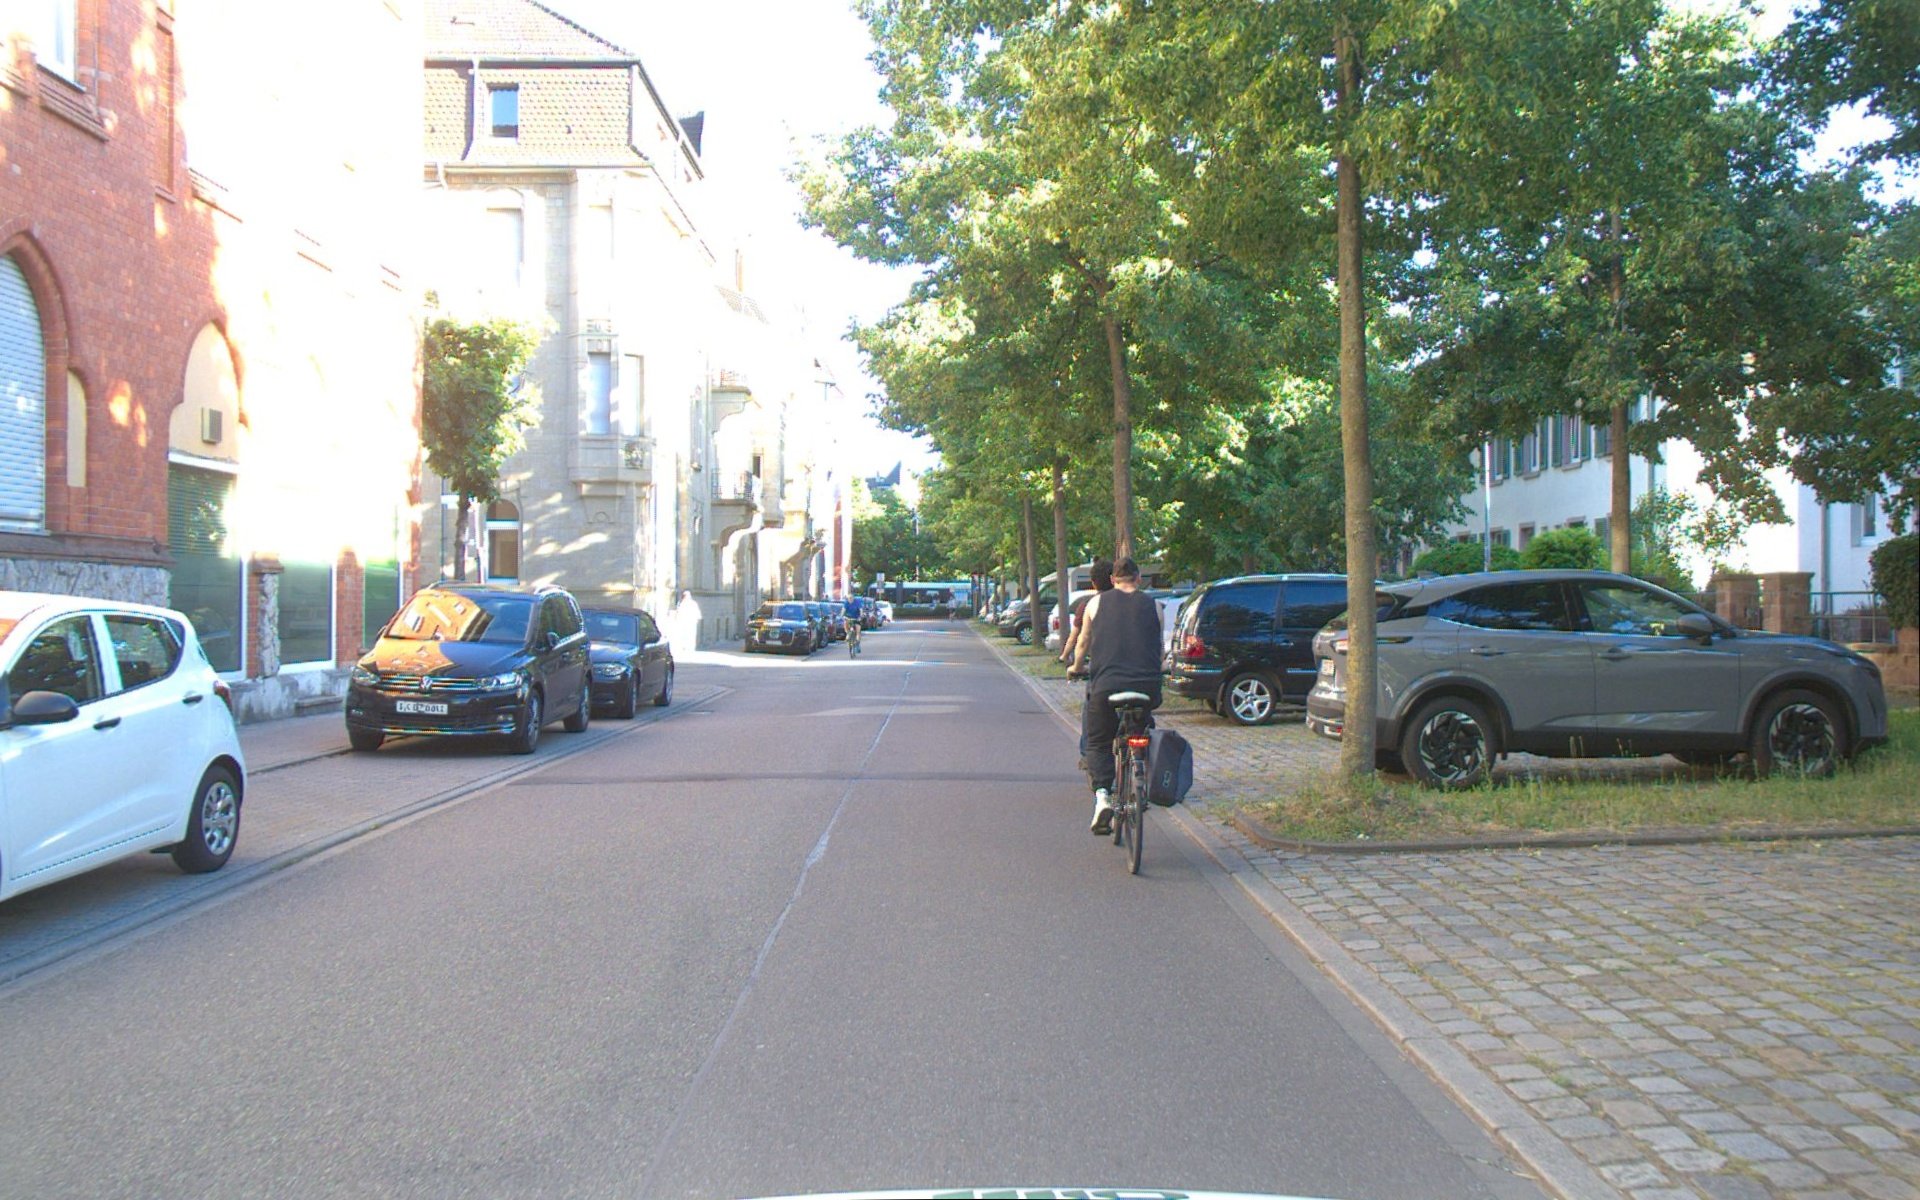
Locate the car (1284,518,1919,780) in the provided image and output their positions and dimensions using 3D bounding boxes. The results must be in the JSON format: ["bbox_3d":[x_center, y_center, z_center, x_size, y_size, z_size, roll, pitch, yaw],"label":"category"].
[{"bbox_3d":[5.009,0.356,13.158,4.386,1.662,1.874,-4,0,-2],"label":"car"}]

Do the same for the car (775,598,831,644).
[{"bbox_3d":[-5.234,0.703,55.501,1.662,1.479,4.026,0,-1,-2],"label":"car"}]

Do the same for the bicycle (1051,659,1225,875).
[{"bbox_3d":[0.984,0.908,9.622,0.722,1.072,1.955,2,-1,-2],"label":"bicycle"}]

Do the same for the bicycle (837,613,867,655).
[{"bbox_3d":[-3.000,0.935,46.062,0.742,1.127,1.907,-1,-1,-1],"label":"bicycle"}]

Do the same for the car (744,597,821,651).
[{"bbox_3d":[-5.204,0.698,48.960,1.774,1.451,4.897,2,-1,-1],"label":"car"}]

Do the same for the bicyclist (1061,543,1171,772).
[{"bbox_3d":[1.168,0.420,12.536,0.675,1.655,0.998,1,0,-2],"label":"bicyclist"}]

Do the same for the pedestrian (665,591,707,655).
[{"bbox_3d":[-7.120,0.582,43.006,0.870,1.604,1.053,-2,0,-1],"label":"pedestrian"}]

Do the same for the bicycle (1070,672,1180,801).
[{"bbox_3d":[1.221,1.002,12.558,0.620,0.813,1.832,-1,0,-1],"label":"bicycle"}]

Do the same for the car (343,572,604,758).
[{"bbox_3d":[-4.993,0.622,17.574,1.636,1.710,4.348,1,-1,-3],"label":"car"}]

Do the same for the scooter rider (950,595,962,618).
[{"bbox_3d":[-0.310,0.549,135.472,0.854,1.873,0.670,1,-1,-6],"label":"scooter rider"}]

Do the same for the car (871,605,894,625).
[{"bbox_3d":[-5.905,1.118,126.301,1.551,1.399,4.131,2,0,0],"label":"car"}]

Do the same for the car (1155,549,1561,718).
[{"bbox_3d":[4.787,0.398,20.395,4.487,1.706,1.907,-4,0,1],"label":"car"}]

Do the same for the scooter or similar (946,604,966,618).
[{"bbox_3d":[-0.331,0.912,135.457,1.568,1.167,0.677,1,-1,-6],"label":"scooter or similar"}]

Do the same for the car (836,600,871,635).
[{"bbox_3d":[-5.828,0.945,91.012,1.607,1.814,4.354,2,0,0],"label":"car"}]

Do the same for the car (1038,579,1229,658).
[{"bbox_3d":[4.270,0.443,41.215,4.524,1.739,1.833,-2,0,1],"label":"car"}]

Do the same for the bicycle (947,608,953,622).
[{"bbox_3d":[-0.729,1.112,120.705,0.488,1.023,1.473,1,-2,-1],"label":"bicycle"}]

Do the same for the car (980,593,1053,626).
[{"bbox_3d":[3.241,0.547,95.392,4.001,1.678,1.640,-3,0,-3],"label":"car"}]

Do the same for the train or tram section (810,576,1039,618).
[{"bbox_3d":[-3.442,-0.237,168.505,23.483,3.773,4.255,1,-1,-23],"label":"train or tram section"}]

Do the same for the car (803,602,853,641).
[{"bbox_3d":[-5.370,0.857,67.754,1.641,1.455,4.550,2,0,0],"label":"car"}]

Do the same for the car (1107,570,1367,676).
[{"bbox_3d":[5.175,0.413,31.197,4.453,1.662,1.810,-4,0,-7],"label":"car"}]

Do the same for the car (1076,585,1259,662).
[{"bbox_3d":[4.807,0.523,38.681,3.985,1.502,1.694,-4,1,0],"label":"car"}]

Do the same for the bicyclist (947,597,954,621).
[{"bbox_3d":[-0.711,0.644,120.748,0.476,1.775,0.655,1,-1,-1],"label":"bicyclist"}]

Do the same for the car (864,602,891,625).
[{"bbox_3d":[-5.398,0.864,108.615,1.551,1.367,4.131,2,0,0],"label":"car"}]

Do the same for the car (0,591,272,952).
[{"bbox_3d":[-4.777,0.717,7.751,1.534,1.496,3.592,1,0,1],"label":"car"}]

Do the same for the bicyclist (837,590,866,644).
[{"bbox_3d":[-3.005,0.466,45.939,0.744,1.479,0.948,-1,-1,-1],"label":"bicyclist"}]

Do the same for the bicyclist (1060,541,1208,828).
[{"bbox_3d":[0.995,0.478,9.635,0.715,1.575,0.884,2,-1,-2],"label":"bicyclist"}]

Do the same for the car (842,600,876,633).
[{"bbox_3d":[-5.935,0.946,97.485,1.654,1.857,4.272,2,0,0],"label":"car"}]

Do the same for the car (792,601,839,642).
[{"bbox_3d":[-5.450,0.793,62.758,1.596,1.479,3.835,1,0,-3],"label":"car"}]

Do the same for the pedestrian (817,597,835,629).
[{"bbox_3d":[-7.660,0.739,94.453,0.919,1.773,0.735,1,-1,1],"label":"pedestrian"}]

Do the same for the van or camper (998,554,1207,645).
[{"bbox_3d":[4.905,-0.019,57.840,7.000,2.693,2.465,-4,0,1],"label":"van or camper"}]

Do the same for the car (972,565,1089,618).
[{"bbox_3d":[4.338,-0.529,102.762,7.005,3.030,2.463,-2,0,-4],"label":"car"}]

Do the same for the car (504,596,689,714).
[{"bbox_3d":[-4.961,0.719,23.109,1.602,1.435,4.332,2,-1,-1],"label":"car"}]
